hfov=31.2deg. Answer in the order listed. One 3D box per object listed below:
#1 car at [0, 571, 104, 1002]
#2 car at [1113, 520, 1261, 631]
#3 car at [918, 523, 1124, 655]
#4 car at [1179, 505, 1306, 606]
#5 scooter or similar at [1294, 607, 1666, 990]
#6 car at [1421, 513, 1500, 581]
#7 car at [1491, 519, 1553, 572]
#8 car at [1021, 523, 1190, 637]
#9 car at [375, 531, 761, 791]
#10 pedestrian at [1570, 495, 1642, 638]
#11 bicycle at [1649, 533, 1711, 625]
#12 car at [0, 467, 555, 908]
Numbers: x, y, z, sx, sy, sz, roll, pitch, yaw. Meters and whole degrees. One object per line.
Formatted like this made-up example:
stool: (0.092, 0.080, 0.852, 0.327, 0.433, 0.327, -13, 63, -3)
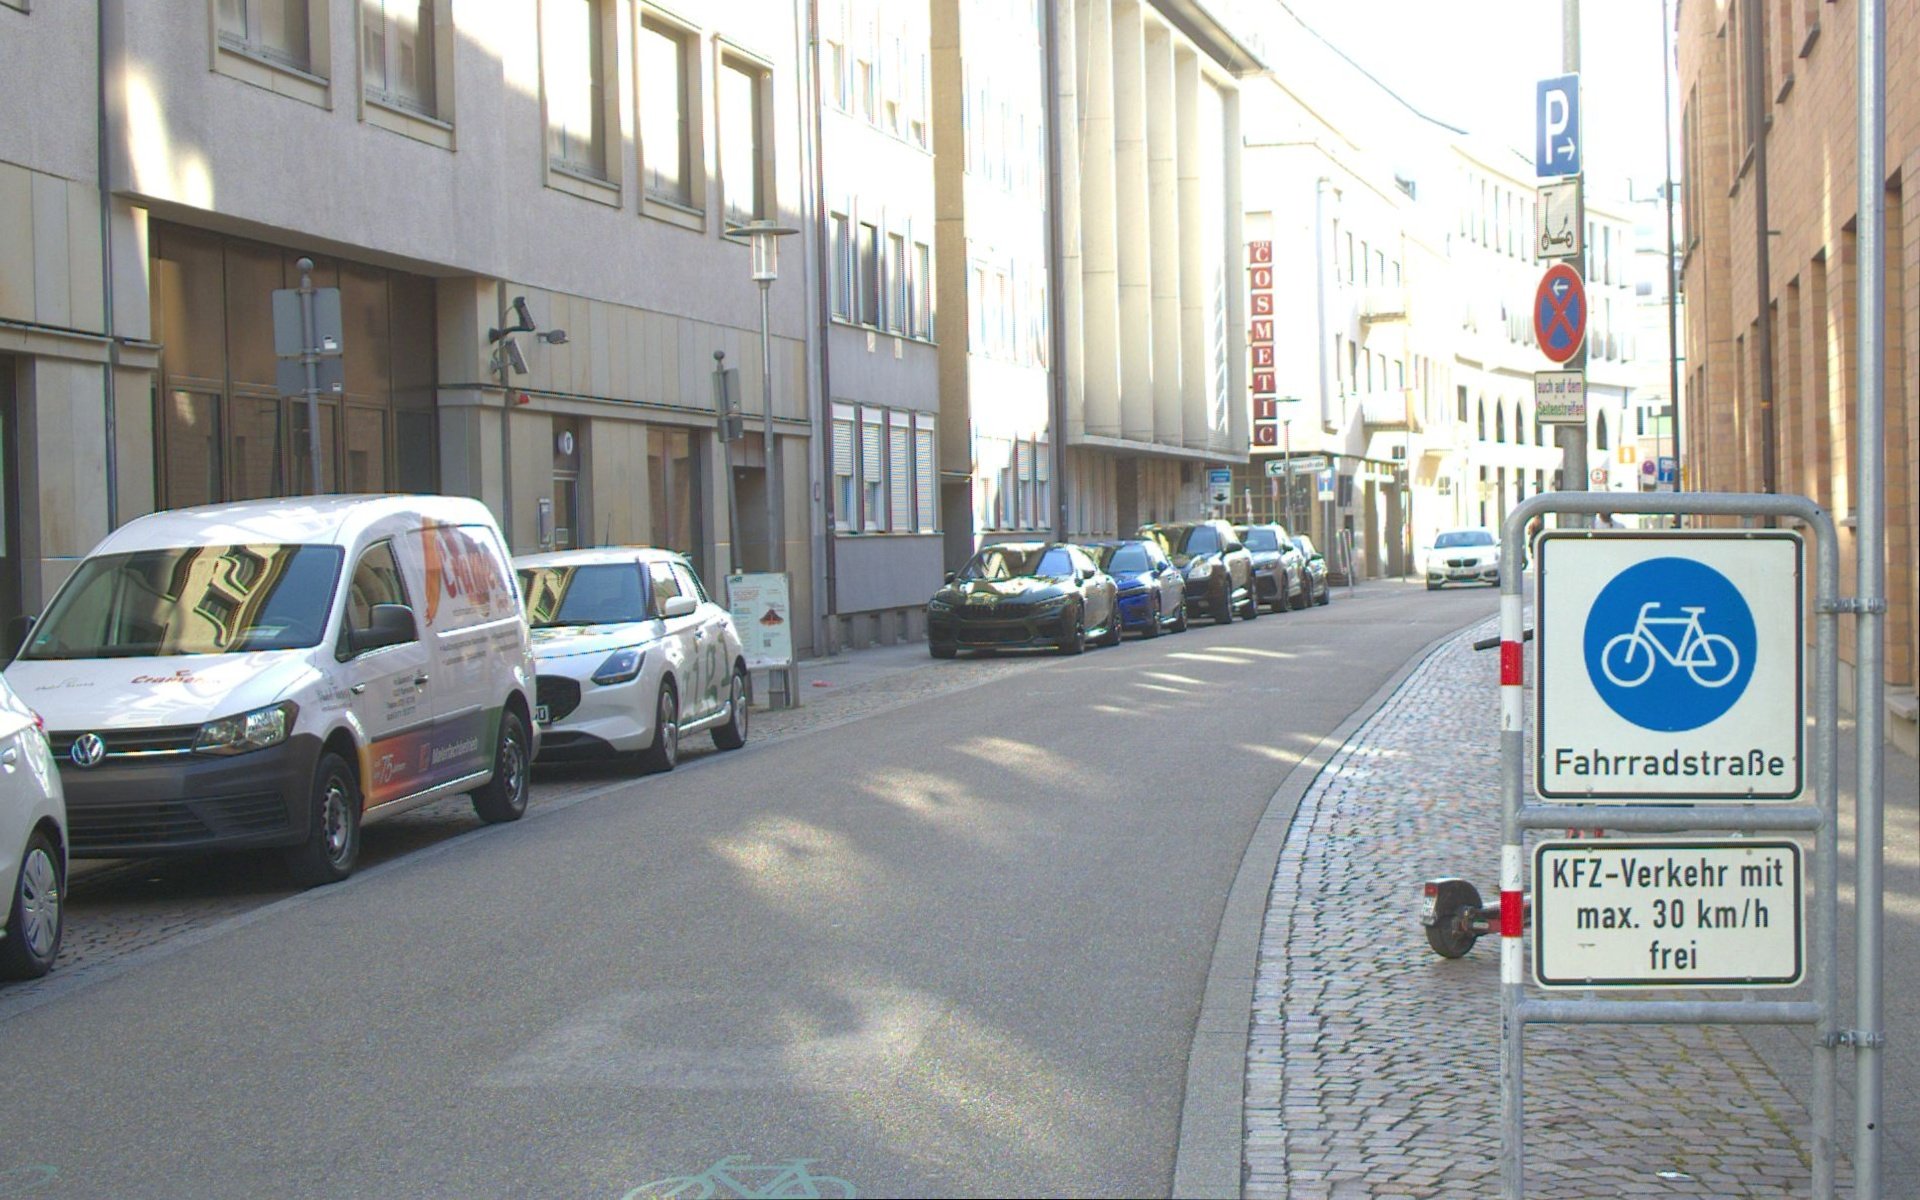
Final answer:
car: (-4.296, 0.721, 11.320, 1.737, 1.487, 3.799, -3, 1, 3)
car: (3.733, -0.430, 55.914, 1.891, 1.670, 4.552, -2, 1, 10)
car: (0.845, -0.185, 44.027, 1.891, 1.525, 4.727, -2, 1, 10)
car: (5.233, -0.842, 63.231, 1.891, 1.736, 4.389, -2, 1, 10)
scooter or similar: (1.863, 0.669, 12.201, 1.415, 1.231, 0.538, -2, 3, -43)
car: (11.890, -1.281, 81.524, 1.715, 1.512, 4.159, -2, 1, 10)
car: (17.156, -1.688, 104.887, 1.640, 1.512, 4.158, -2, 1, 12)
car: (2.175, -0.326, 50.245, 1.891, 1.525, 4.338, -2, 1, 10)
car: (-2.578, 0.351, 23.489, 1.670, 1.517, 3.775, -3, 1, 7)
pedestrian: (7.951, -0.414, 42.336, 0.760, 1.710, 0.821, -3, 1, 10)
bicycle: (9.230, -0.284, 44.134, 0.550, 1.099, 1.982, -4, 1, 8)
car: (-3.594, 0.334, 17.218, 1.900, 1.851, 4.732, -3, 1, 8)
